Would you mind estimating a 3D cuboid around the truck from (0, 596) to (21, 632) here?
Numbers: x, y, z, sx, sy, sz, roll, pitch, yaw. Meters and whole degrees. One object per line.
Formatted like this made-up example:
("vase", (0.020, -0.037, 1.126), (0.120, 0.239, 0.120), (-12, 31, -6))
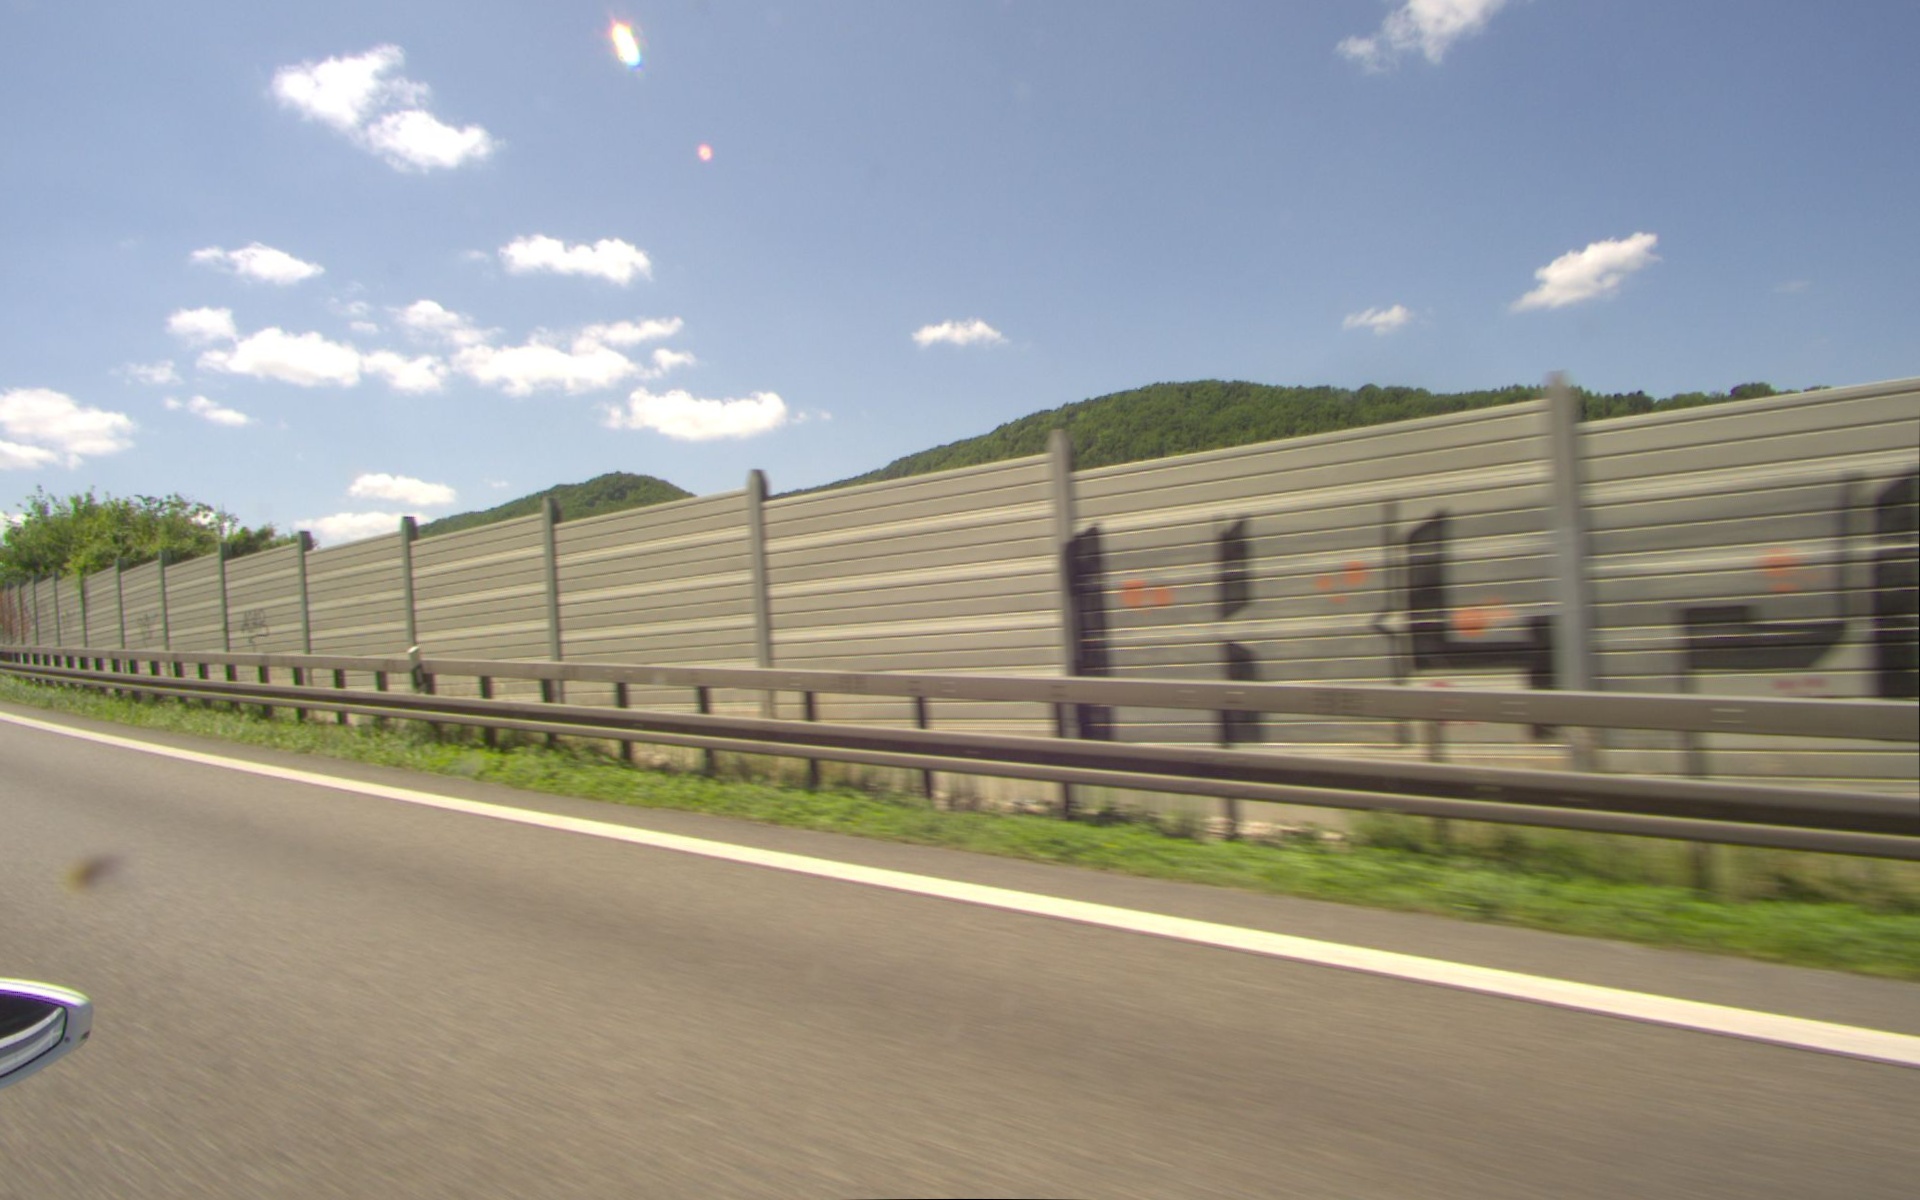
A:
("truck", (-113.468, 1.691, 118.646), (2.710, 4.150, 7.418), (-1, 0, -39))
